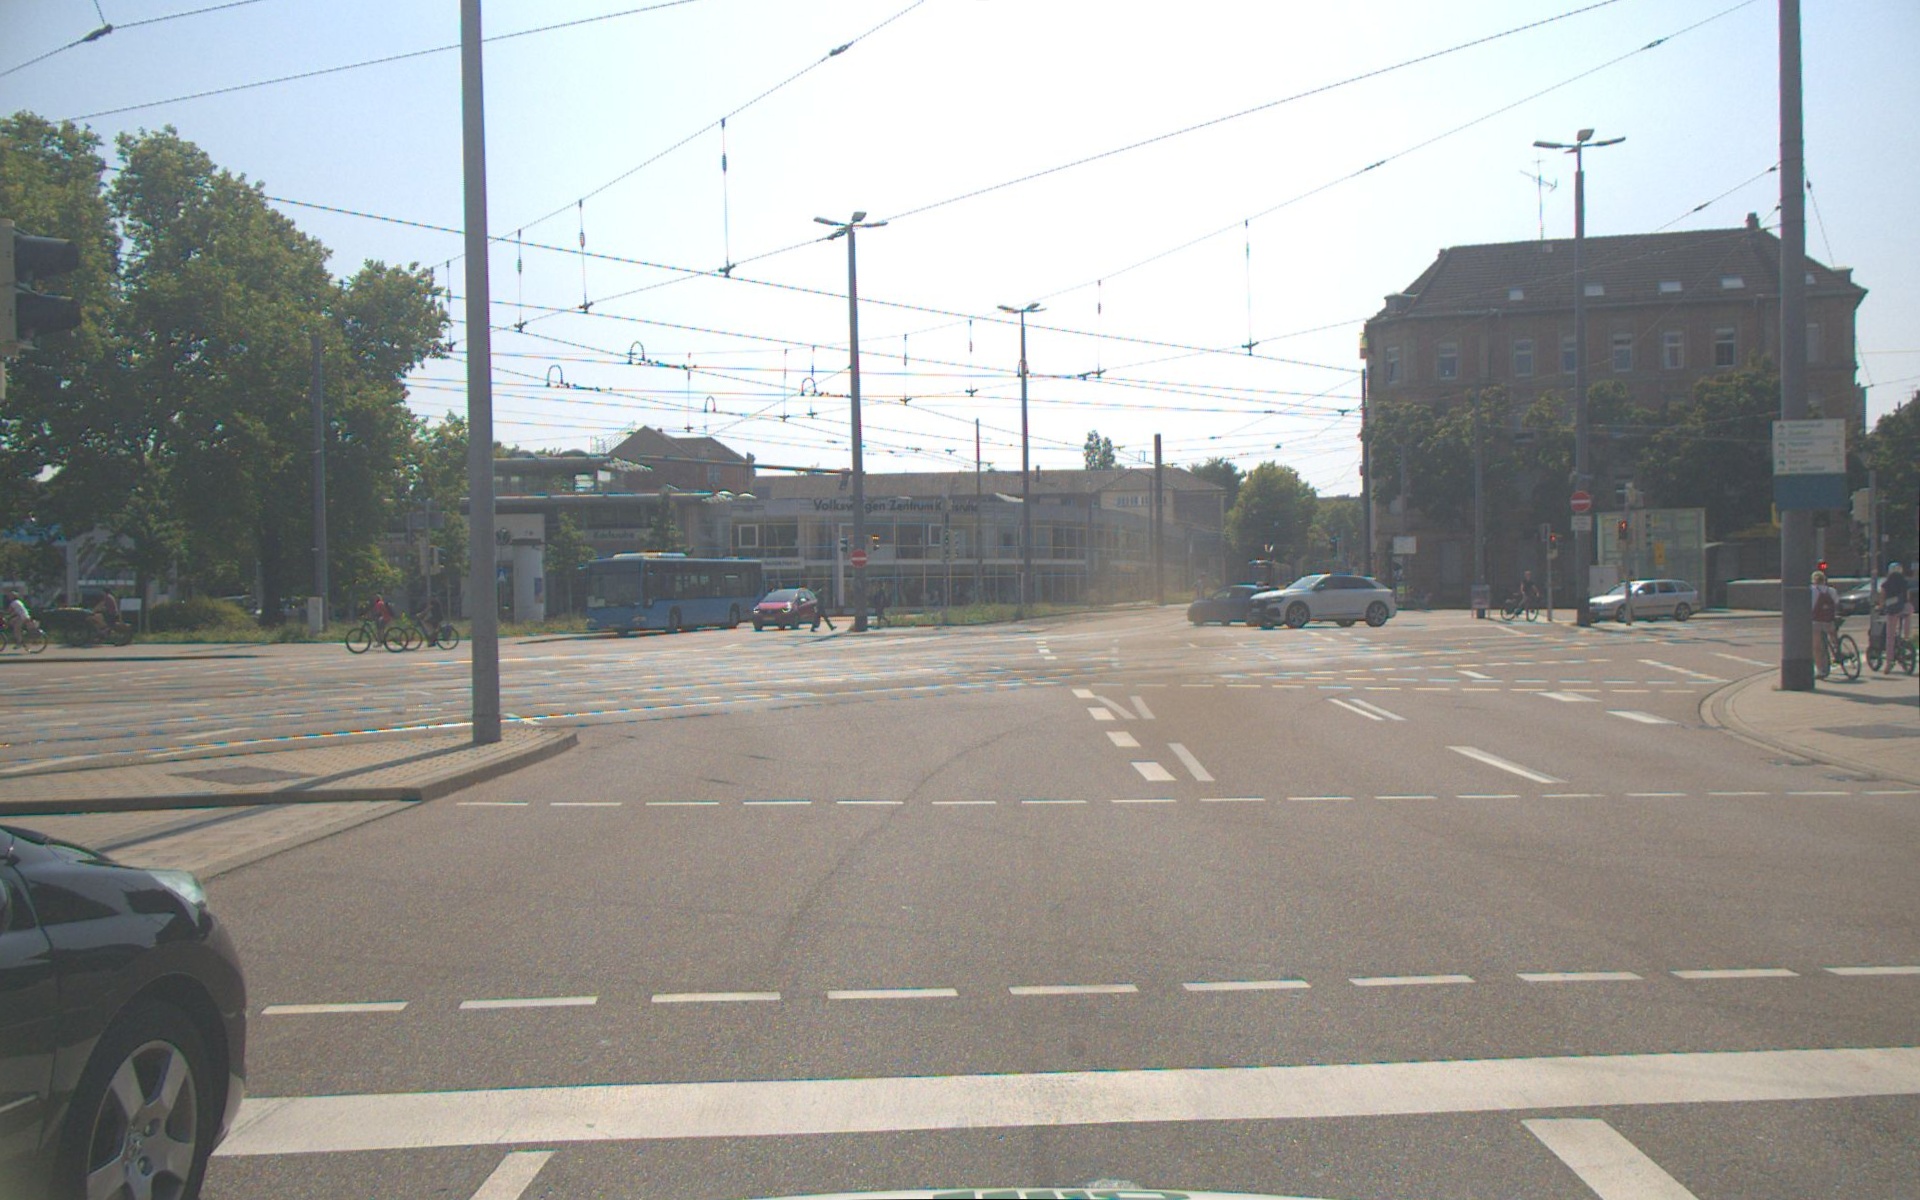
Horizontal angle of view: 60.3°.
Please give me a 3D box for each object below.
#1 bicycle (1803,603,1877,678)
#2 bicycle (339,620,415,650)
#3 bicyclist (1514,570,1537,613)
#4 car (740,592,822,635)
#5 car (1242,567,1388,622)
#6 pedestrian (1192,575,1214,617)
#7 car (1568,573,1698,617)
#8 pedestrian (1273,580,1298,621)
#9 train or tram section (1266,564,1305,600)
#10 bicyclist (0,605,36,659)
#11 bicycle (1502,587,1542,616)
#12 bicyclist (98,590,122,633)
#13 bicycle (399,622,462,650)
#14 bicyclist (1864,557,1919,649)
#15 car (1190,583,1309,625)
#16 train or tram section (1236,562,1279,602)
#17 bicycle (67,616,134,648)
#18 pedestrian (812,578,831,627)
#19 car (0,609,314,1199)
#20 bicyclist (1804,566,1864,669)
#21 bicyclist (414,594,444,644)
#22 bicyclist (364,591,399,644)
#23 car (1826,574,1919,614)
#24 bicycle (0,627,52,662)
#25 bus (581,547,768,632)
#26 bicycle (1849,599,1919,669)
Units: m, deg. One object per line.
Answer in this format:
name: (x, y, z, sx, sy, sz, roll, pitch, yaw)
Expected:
bicycle: (13.249, 0.595, 24.940, 0.525, 1.073, 1.655, -1, 0, 11)
bicycle: (-16.871, 1.011, 47.925, 2.013, 0.816, 0.478, -1, 0, -14)
bicyclist: (21.089, -0.318, 61.670, 0.604, 1.555, 0.517, -1, 0, -25)
car: (-6.930, 0.508, 64.344, 1.713, 1.579, 4.002, -1, 0, 17)
car: (11.238, -0.186, 52.307, 4.259, 1.646, 1.744, -1, 0, -21)
pedestrian: (9.497, -0.159, 64.634, 0.687, 1.631, 0.572, -1, 0, -8)
car: (23.581, -0.174, 57.931, 4.113, 1.440, 1.766, -1, 0, -20)
pedestrian: (12.788, 0.029, 65.024, 0.834, 1.572, 0.528, -1, 0, -9)
train or tram section: (34.535, -1.918, 174.942, 2.534, 3.578, 12.979, -1, 0, 18)
bicyclist: (-27.275, 0.908, 47.703, 0.892, 1.534, 0.558, -1, 0, -4)
bicycle: (21.015, 0.047, 61.843, 0.462, 1.073, 1.643, -1, 0, -21)
bicyclist: (-26.411, 0.359, 51.391, 0.535, 1.316, 0.557, -1, 0, -12)
bicycle: (-16.328, 1.112, 50.992, 1.828, 0.816, 0.604, -1, 0, -19)
bicyclist: (14.737, 0.041, 26.141, 0.519, 1.417, 0.894, -1, 0, 11)
car: (10.289, 0.157, 58.961, 3.928, 1.418, 1.587, -1, 0, 42)
train or tram section: (27.821, -1.667, 154.308, 2.534, 3.578, 10.904, -1, 0, 18)
bicycle: (-26.695, 0.994, 51.393, 1.783, 0.958, 0.414, -1, 0, -14)
pedestrian: (-4.883, 0.087, 58.373, 0.544, 1.713, 0.451, -1, 0, -19)
car: (-2.588, 0.739, 2.293, 1.729, 1.412, 3.782, 1, 0, 3)
bicyclist: (13.310, 0.263, 25.211, 0.614, 1.544, 0.712, -1, 0, 11)
bicyclist: (-16.364, 0.573, 50.999, 0.858, 1.501, 0.543, -1, 0, -19)
bicyclist: (-16.769, 0.504, 47.952, 0.856, 1.509, 0.496, -1, 0, -13)
car: (35.467, -0.248, 62.954, 4.684, 1.440, 1.765, -1, 0, -21)
bicycle: (-27.261, 1.281, 47.713, 1.778, 0.958, 0.567, -1, 0, -5)
bus: (-11.328, -0.445, 67.403, 2.508, 3.136, 12.031, -1, 0, 16)
bicycle: (14.820, 0.527, 26.513, 0.525, 1.073, 1.655, -1, 0, 11)
